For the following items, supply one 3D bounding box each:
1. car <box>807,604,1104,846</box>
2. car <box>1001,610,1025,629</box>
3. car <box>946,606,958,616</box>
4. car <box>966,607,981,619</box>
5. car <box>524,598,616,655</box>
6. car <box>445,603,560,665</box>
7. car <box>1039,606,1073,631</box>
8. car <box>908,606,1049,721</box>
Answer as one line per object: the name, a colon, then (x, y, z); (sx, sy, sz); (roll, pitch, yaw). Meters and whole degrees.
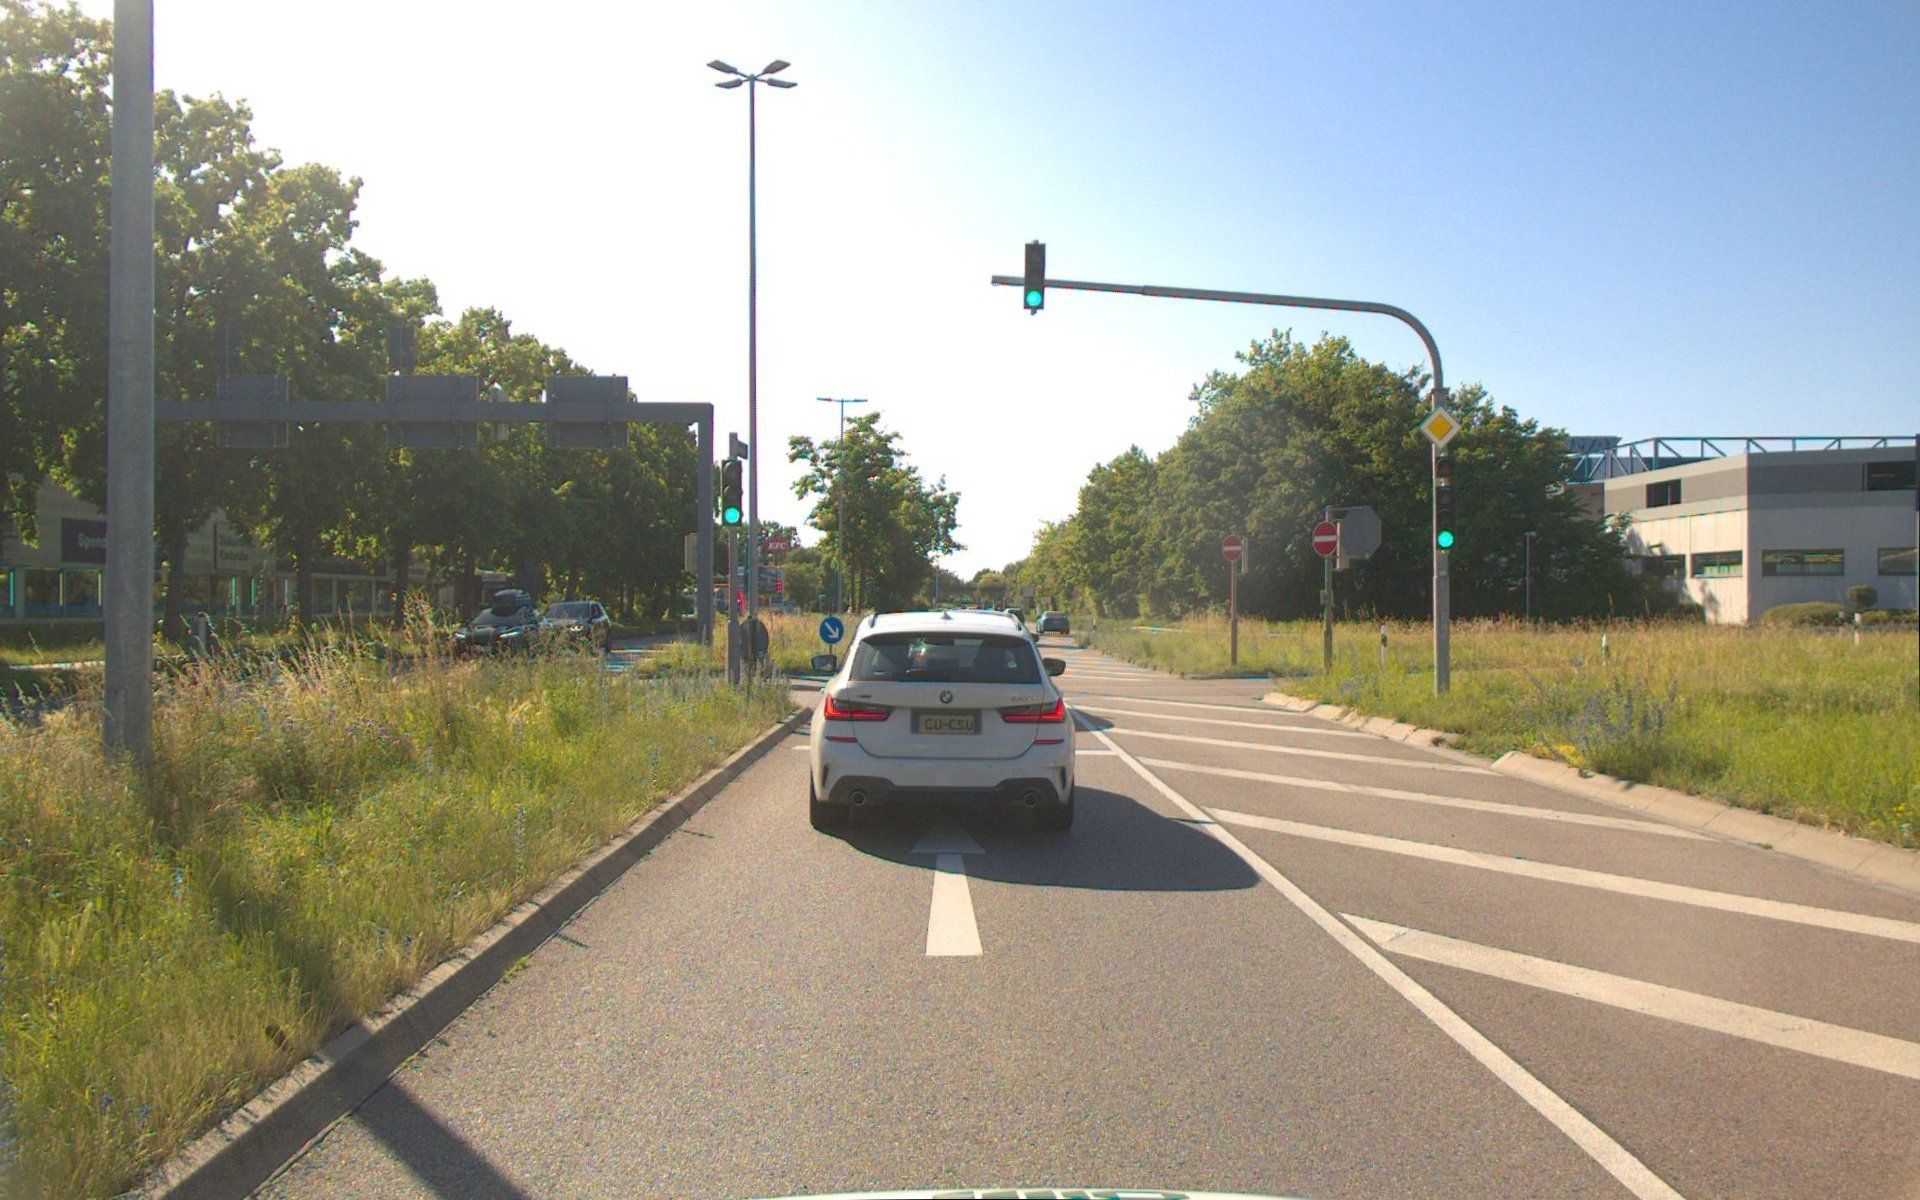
car: (-0.028, 0.778, 12.481); (1.823, 1.480, 4.547); (0, 0, 0)
car: (4.348, 1.614, 136.978); (1.736, 1.583, 3.831); (0, 0, -2)
car: (-1.252, 1.717, 259.871); (1.824, 1.592, 4.546); (0, 0, -1)
car: (1.690, 1.672, 212.693); (1.824, 1.592, 4.546); (0, 0, -1)
car: (-12.705, 0.838, 54.151); (1.902, 1.726, 4.629); (-2, 0, -1)
car: (-12.406, 0.886, 45.137); (1.838, 1.570, 4.572); (-2, 0, 0)
car: (6.044, 1.181, 104.814); (1.824, 1.525, 4.335); (0, 0, -1)
car: (0.215, 0.835, 23.692); (1.824, 1.480, 4.546); (0, 0, -1)
